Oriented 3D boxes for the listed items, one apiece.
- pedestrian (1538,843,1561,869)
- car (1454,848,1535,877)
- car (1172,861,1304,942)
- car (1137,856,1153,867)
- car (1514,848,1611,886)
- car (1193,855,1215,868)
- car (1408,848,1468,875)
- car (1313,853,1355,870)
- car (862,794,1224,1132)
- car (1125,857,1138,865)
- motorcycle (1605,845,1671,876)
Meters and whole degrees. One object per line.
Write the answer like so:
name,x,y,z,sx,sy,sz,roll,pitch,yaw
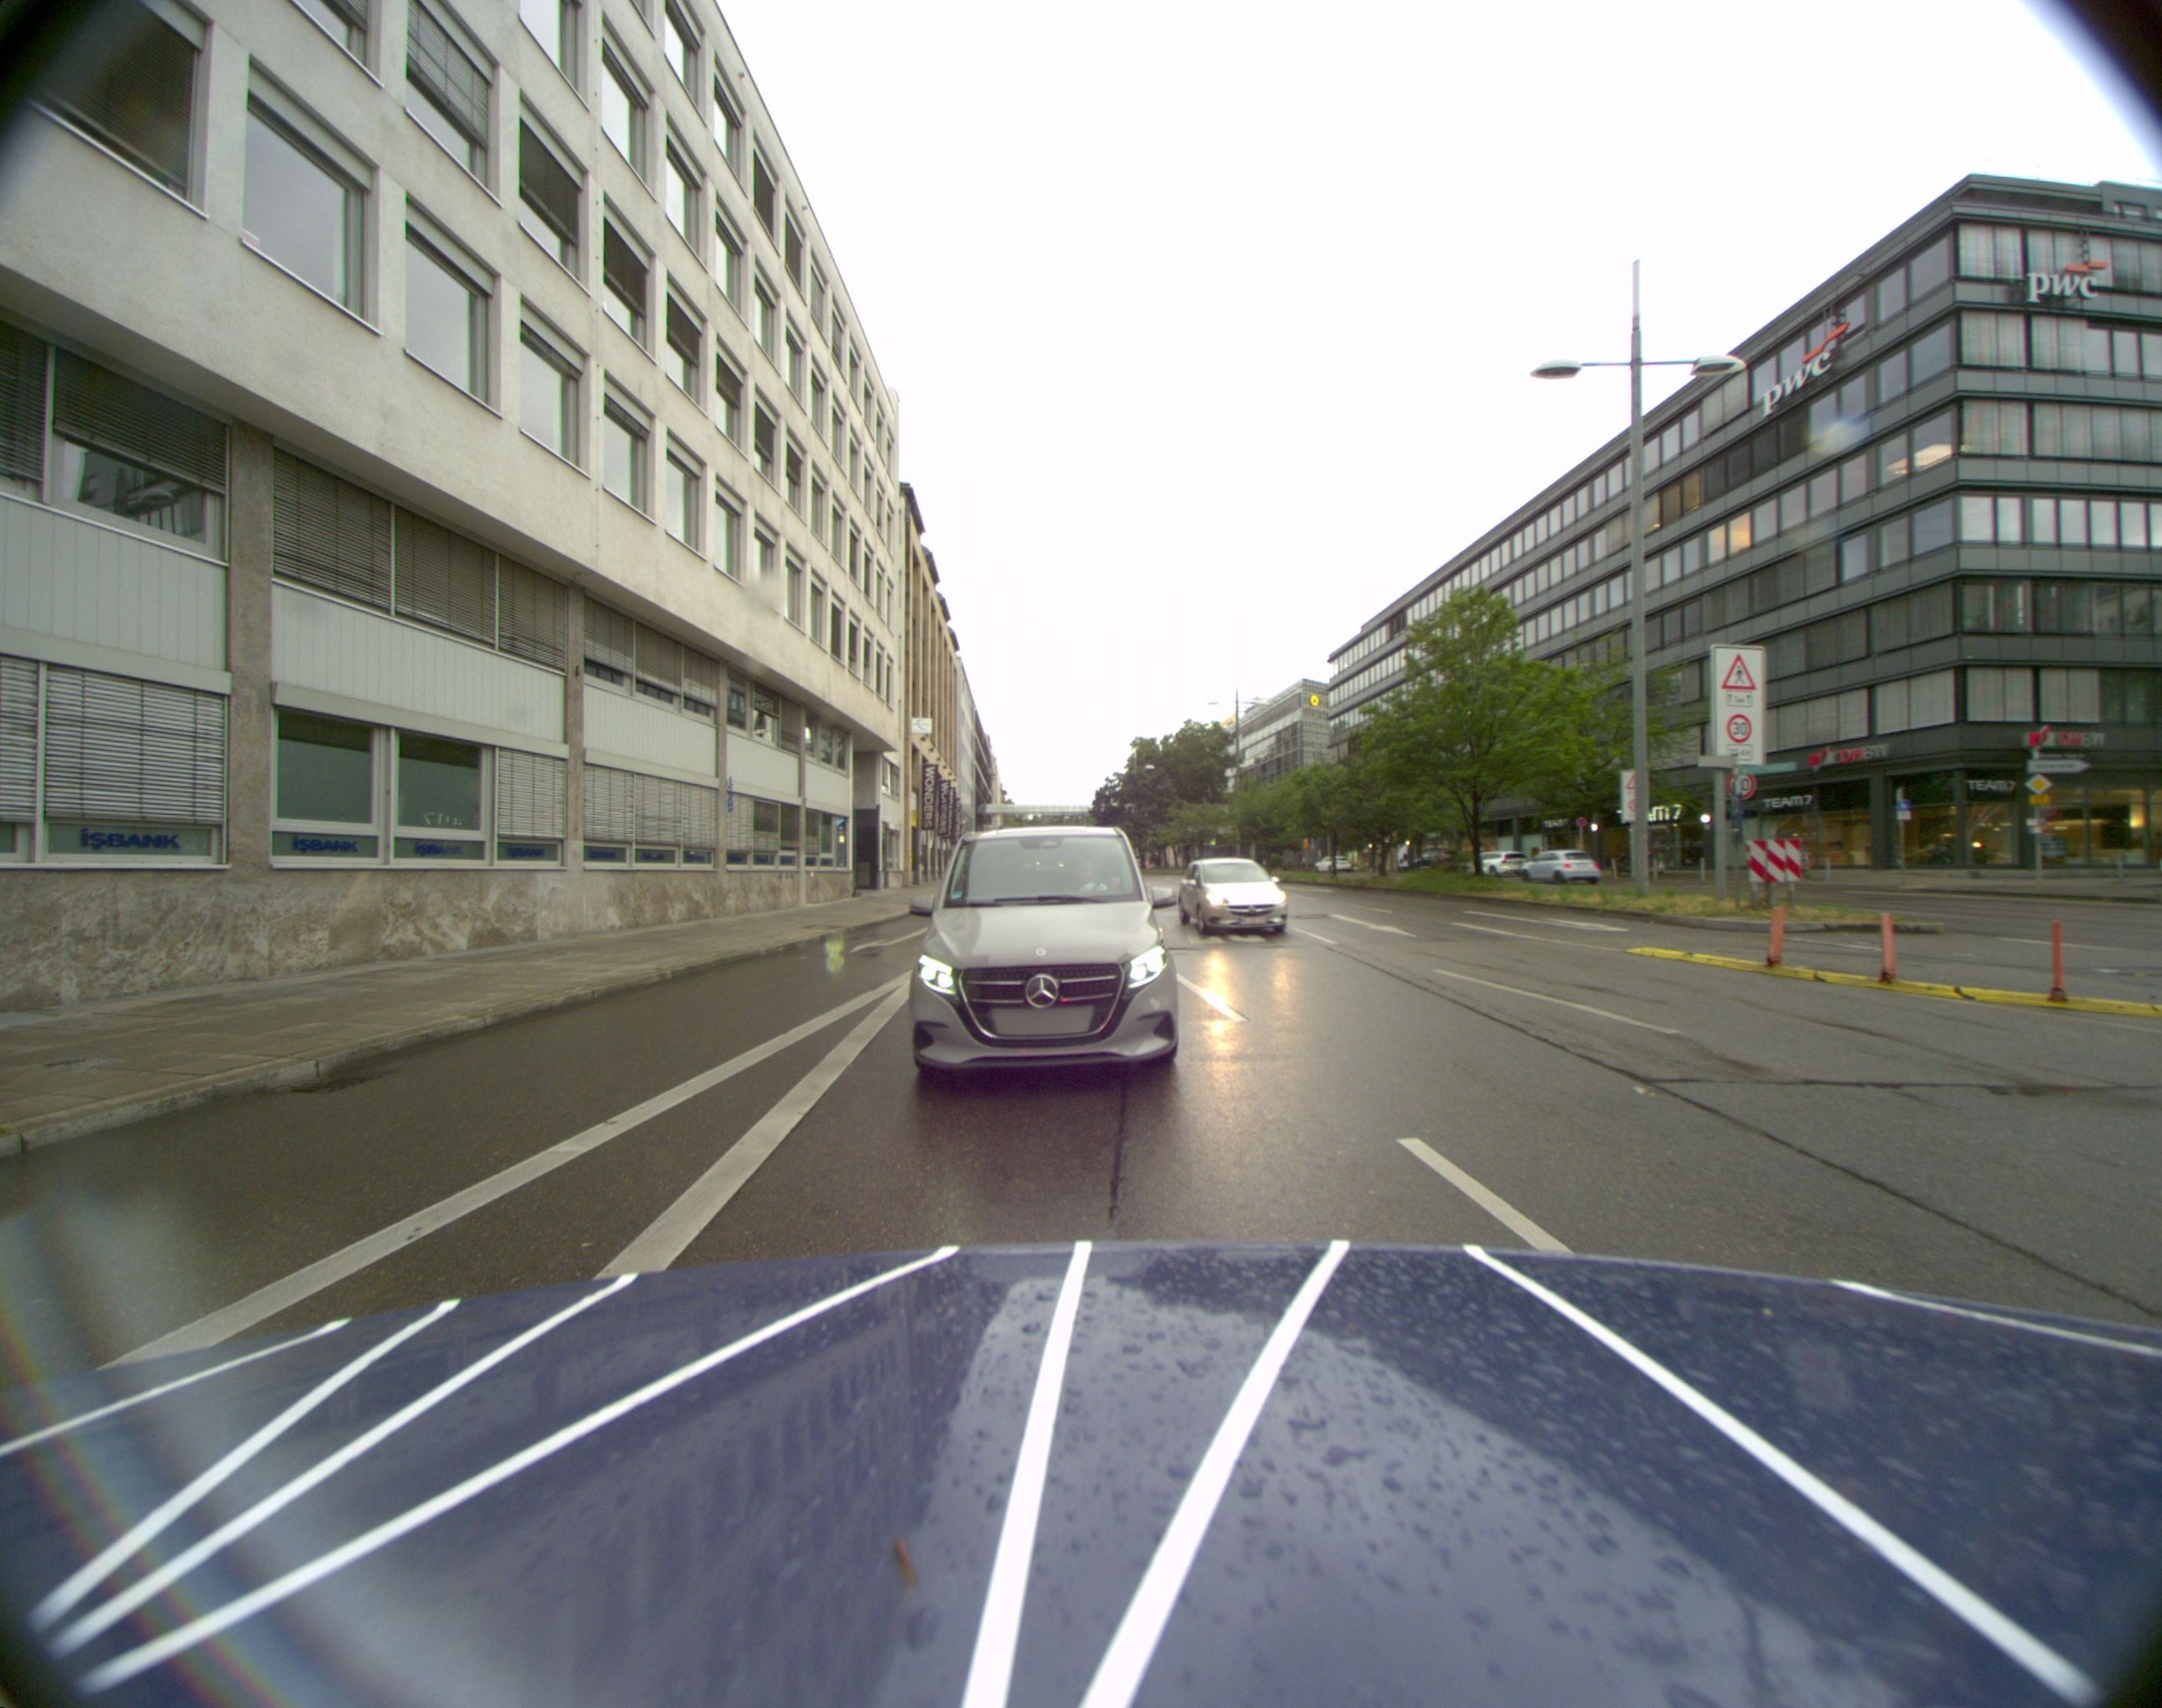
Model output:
pedestrian,28.929,0.122,46.942,0.786,1.628,0.965,-1,0,-4
car,24.008,0.458,44.382,1.814,1.477,4.771,-4,0,-4
car,3.135,0.895,15.978,1.853,1.434,3.869,-1,0,-2
car,10.491,1.258,124.597,1.742,1.717,4.491,3,-1,-5
car,21.485,0.553,34.069,1.789,1.564,3.690,-1,0,-4
car,15.758,0.931,97.672,1.999,1.535,4.482,-1,0,-1
car,23.670,0.452,50.516,1.813,1.651,4.309,-2,0,-2
car,22.282,0.649,66.997,1.814,1.436,4.307,-2,0,-7
car,-0.281,0.675,7.184,2.163,2.014,5.041,-1,0,-1
car,8.943,1.222,135.741,1.687,1.423,4.081,-1,0,-5
motorcycle,26.966,0.311,36.837,0.861,1.386,2.364,-5,2,-30
